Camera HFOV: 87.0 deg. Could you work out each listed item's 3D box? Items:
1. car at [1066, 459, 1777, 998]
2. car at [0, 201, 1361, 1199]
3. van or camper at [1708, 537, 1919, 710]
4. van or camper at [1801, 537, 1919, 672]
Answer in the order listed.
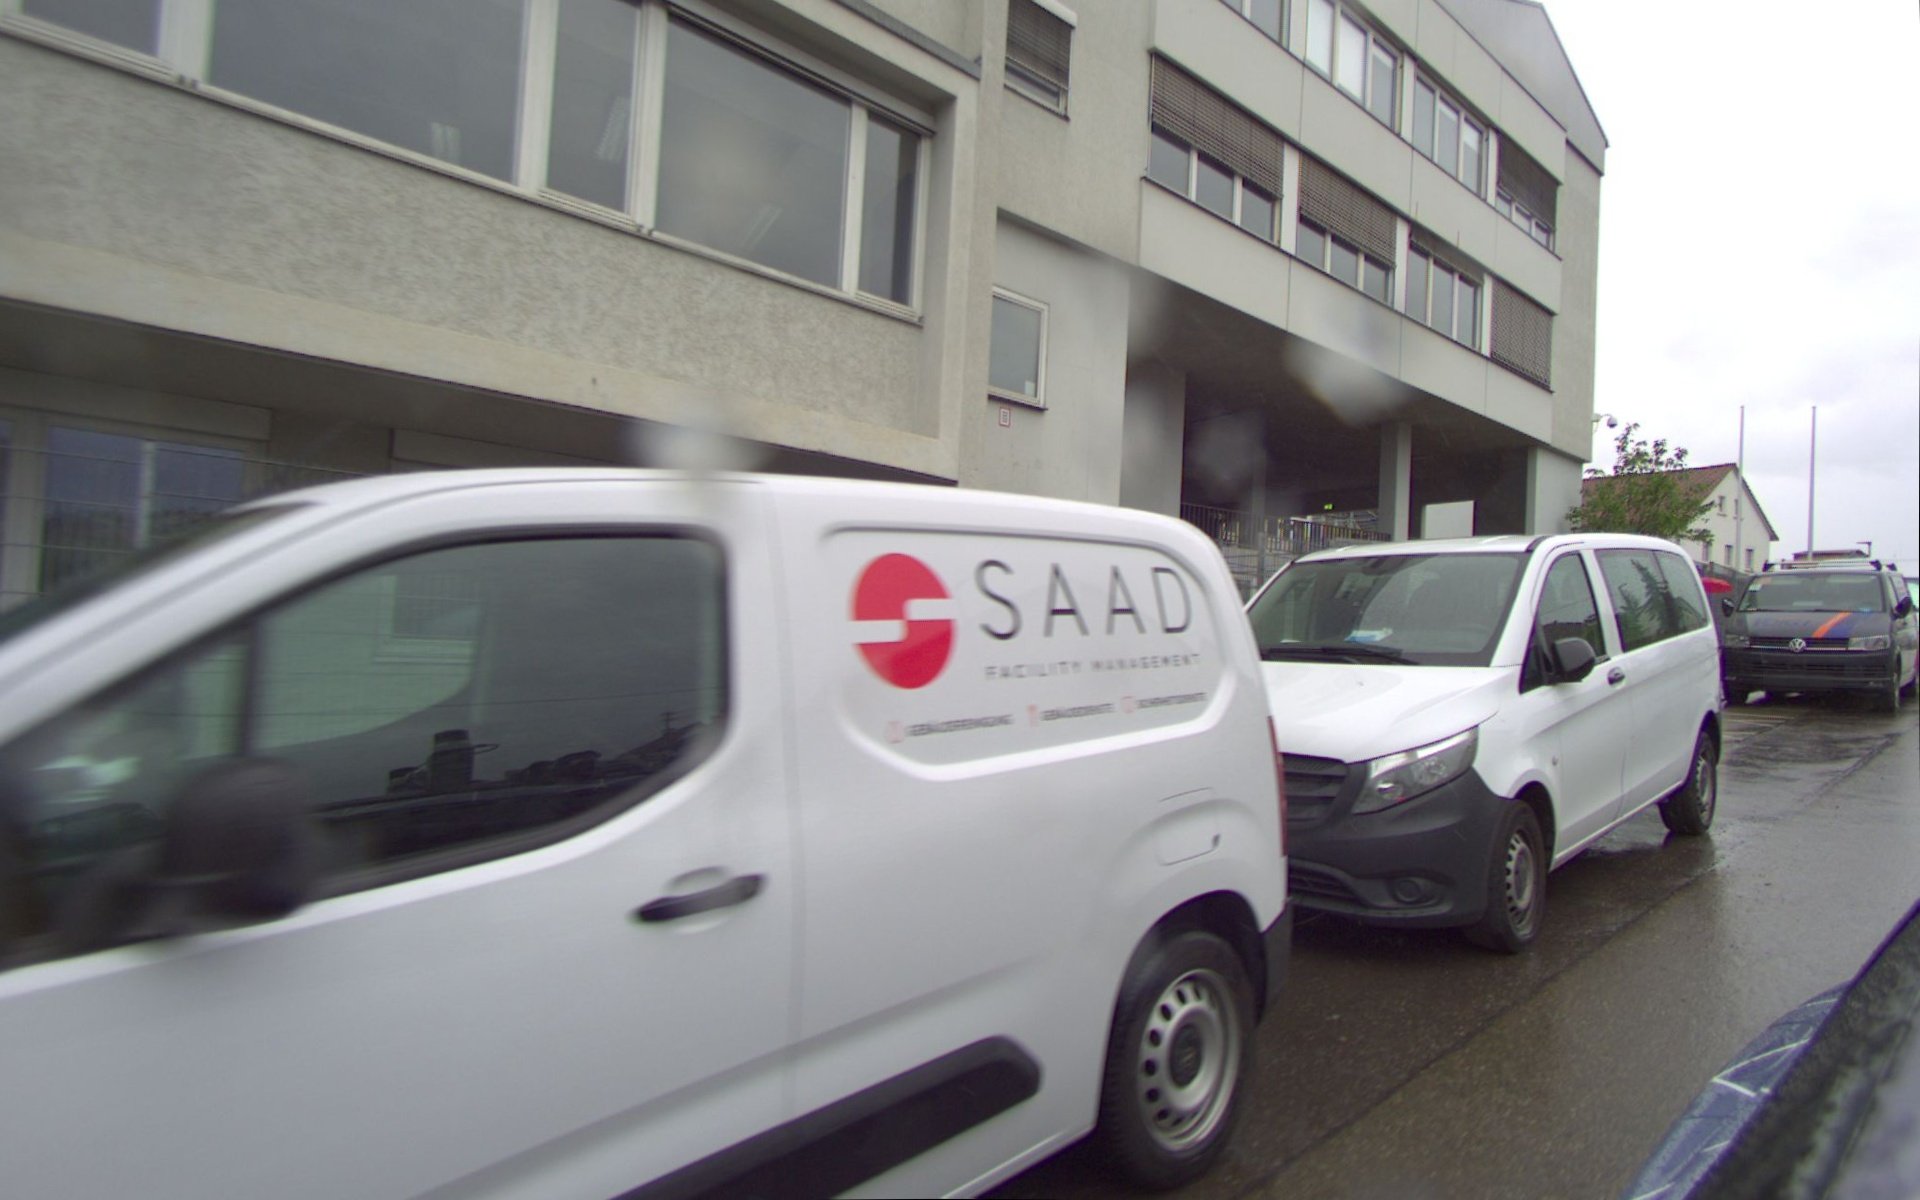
[{"bbox_3d":[3.047,0.444,6.042,4.888,1.959,1.997,0,1,-41],"label":"car"},{"bbox_3d":[-1.137,0.498,2.170,4.410,1.856,1.882,0,1,-41],"label":"car"},{"bbox_3d":[12.940,0.273,14.944,5.112,2.140,1.997,0,1,-42],"label":"van or camper"},{"bbox_3d":[17.733,0.070,19.133,5.347,2.271,1.997,0,1,-42],"label":"van or camper"}]
